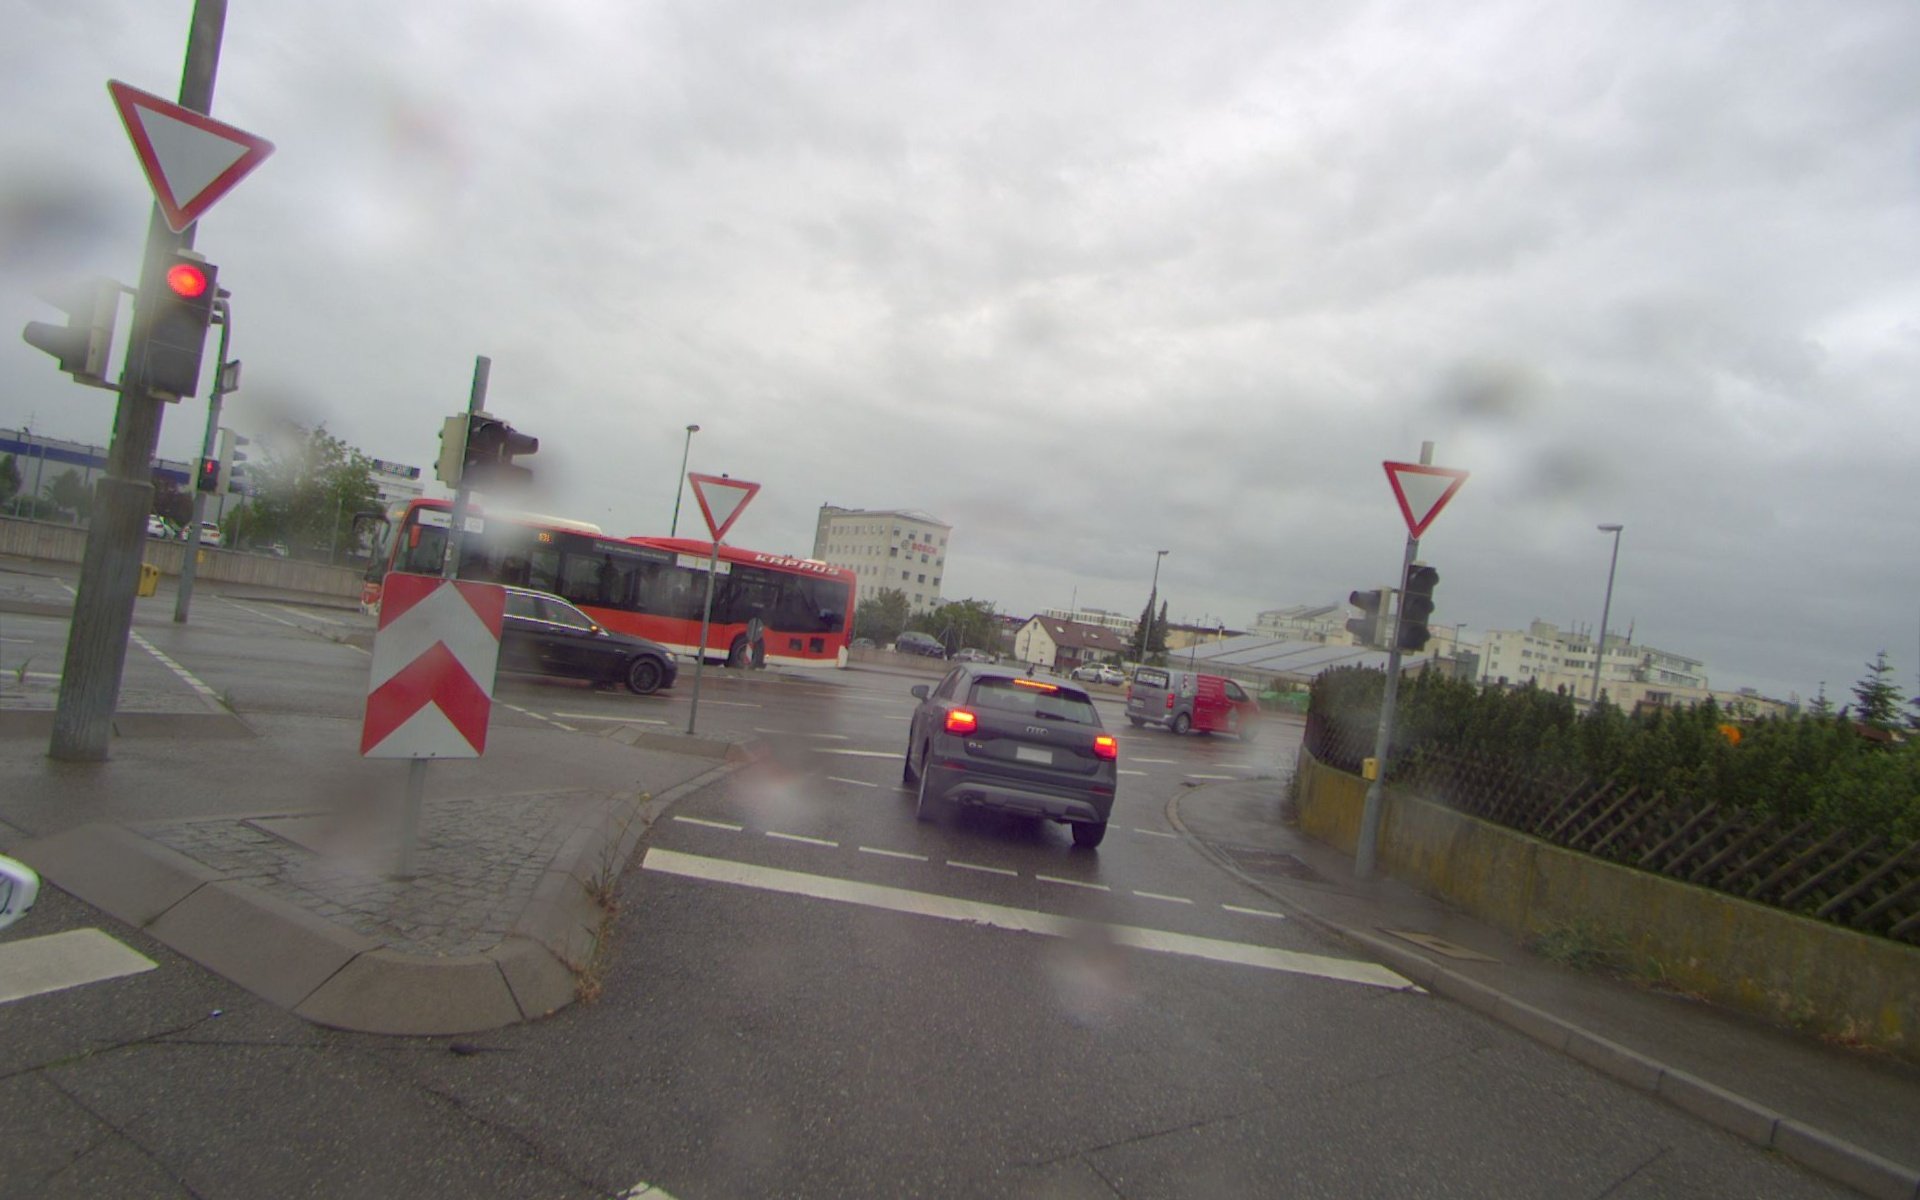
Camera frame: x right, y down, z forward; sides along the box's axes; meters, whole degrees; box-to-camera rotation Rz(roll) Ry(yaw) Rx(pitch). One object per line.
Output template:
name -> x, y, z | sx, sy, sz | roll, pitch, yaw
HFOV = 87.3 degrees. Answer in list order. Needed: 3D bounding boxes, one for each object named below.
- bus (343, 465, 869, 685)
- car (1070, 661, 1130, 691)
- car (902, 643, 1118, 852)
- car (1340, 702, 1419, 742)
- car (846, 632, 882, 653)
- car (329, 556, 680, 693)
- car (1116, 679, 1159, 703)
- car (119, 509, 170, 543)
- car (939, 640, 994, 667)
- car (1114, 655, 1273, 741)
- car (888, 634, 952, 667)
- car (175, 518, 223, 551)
bus -> -8.331, -0.273, 25.847 | 12.245, 3.357, 3.040 | 12, -3, -41
car -> 9.728, 5.250, 70.052 | 1.979, 1.494, 3.971 | 9, -2, -29
car -> 0.327, 1.342, 10.515 | 1.659, 1.512, 3.940 | 8, -2, -3
car -> 23.586, 6.865, 56.549 | 3.963, 1.584, 1.984 | 11, -3, -31
car -> -9.621, 4.229, 100.361 | 1.979, 1.494, 3.971 | 9, -2, -29
car -> -7.168, 0.455, 16.181 | 4.649, 1.493, 1.976 | 11, -3, -43
car -> 17.635, 9.039, 100.028 | 3.760, 1.771, 1.887 | 9, -2, -29
car -> -45.625, -4.133, 56.357 | 1.985, 1.495, 3.959 | 10, -2, -38
car -> 0.535, 4.370, 82.223 | 3.951, 1.494, 1.989 | 9, -2, -24
car -> 7.202, 3.028, 30.807 | 4.749, 2.037, 1.980 | 9, -2, -37
car -> -2.482, 3.088, 61.954 | 1.983, 1.494, 3.964 | 10, -2, -34
car -> -43.905, -3.807, 58.025 | 1.986, 1.495, 3.958 | 10, -2, -38
